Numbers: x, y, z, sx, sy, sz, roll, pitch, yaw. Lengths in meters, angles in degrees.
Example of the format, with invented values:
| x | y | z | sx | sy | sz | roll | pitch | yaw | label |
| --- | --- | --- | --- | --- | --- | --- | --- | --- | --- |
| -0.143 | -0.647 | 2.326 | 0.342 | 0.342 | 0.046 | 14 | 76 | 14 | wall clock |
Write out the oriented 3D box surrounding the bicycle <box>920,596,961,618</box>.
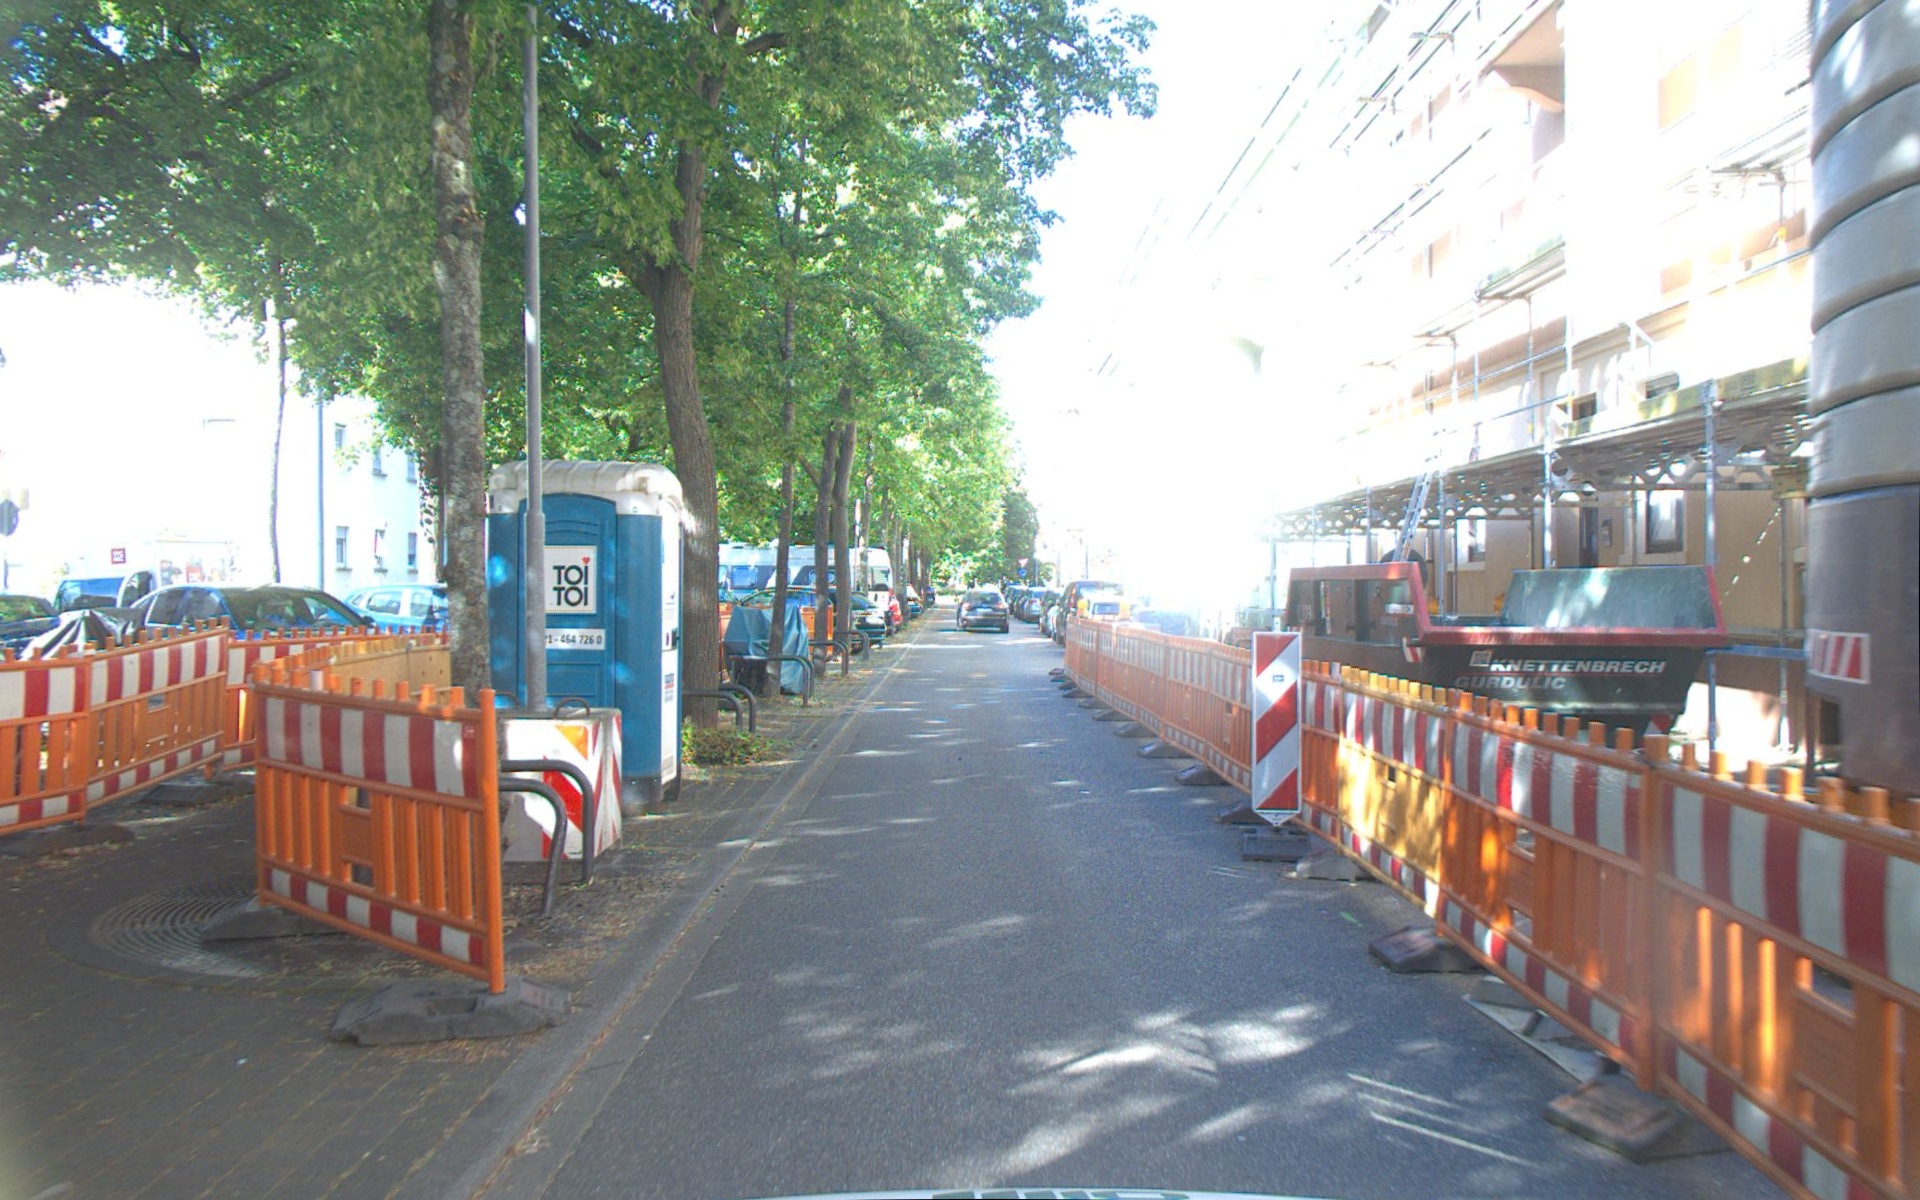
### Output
| x | y | z | sx | sy | sz | roll | pitch | yaw | label |
| --- | --- | --- | --- | --- | --- | --- | --- | --- | --- |
| -0.891 | 0.311 | 75.182 | 1.858 | 0.935 | 0.379 | 2 | 0 | 20 | bicycle |

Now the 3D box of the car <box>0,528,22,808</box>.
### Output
| x | y | z | sx | sy | sz | roll | pitch | yaw | label |
| --- | --- | --- | --- | --- | --- | --- | --- | --- | --- |
| -7.533 | 0.425 | 10.621 | 2.928 | 1.747 | 1.418 | 0 | 0 | 32 | car |

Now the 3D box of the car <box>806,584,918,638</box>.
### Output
| x | y | z | sx | sy | sz | roll | pitch | yaw | label |
| --- | --- | --- | --- | --- | --- | --- | --- | --- | --- |
| -3.133 | 0.339 | 52.356 | 1.648 | 1.646 | 3.825 | -1 | 0 | -39 | car |

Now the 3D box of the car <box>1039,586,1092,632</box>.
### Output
| x | y | z | sx | sy | sz | roll | pitch | yaw | label |
| --- | --- | --- | --- | --- | --- | --- | --- | --- | --- |
| 3.566 | 0.299 | 56.547 | 1.566 | 1.518 | 3.966 | 0 | 0 | 0 | car |

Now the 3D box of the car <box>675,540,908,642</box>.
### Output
| x | y | z | sx | sy | sz | roll | pitch | yaw | label |
| --- | --- | --- | --- | --- | --- | --- | --- | --- | --- |
| -4.636 | -0.266 | 45.069 | 6.194 | 2.603 | 2.332 | 1 | 0 | 32 | car |

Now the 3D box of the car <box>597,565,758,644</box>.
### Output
| x | y | z | sx | sy | sz | roll | pitch | yaw | label |
| --- | --- | --- | --- | --- | --- | --- | --- | --- | --- |
| -7.398 | 0.107 | 43.052 | 4.309 | 1.948 | 1.987 | 0 | 0 | 44 | car |

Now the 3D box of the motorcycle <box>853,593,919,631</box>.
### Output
| x | y | z | sx | sy | sz | roll | pitch | yaw | label |
| --- | --- | --- | --- | --- | --- | --- | --- | --- | --- |
| -2.493 | 0.402 | 55.871 | 2.101 | 1.251 | 0.882 | 1 | 0 | 9 | motorcycle |

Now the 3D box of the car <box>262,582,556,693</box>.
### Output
| x | y | z | sx | sy | sz | roll | pitch | yaw | label |
| --- | --- | --- | --- | --- | --- | --- | --- | --- | --- |
| -7.819 | 0.495 | 23.489 | 3.820 | 1.486 | 1.578 | 0 | 0 | 21 | car |

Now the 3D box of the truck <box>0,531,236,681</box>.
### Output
| x | y | z | sx | sy | sz | roll | pitch | yaw | label |
| --- | --- | --- | --- | --- | --- | --- | --- | --- | --- |
| -14.777 | 0.083 | 29.318 | 1.882 | 2.451 | 4.265 | 0 | 0 | 2 | truck |

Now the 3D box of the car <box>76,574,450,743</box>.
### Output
| x | y | z | sx | sy | sz | roll | pitch | yaw | label |
| --- | --- | --- | --- | --- | --- | --- | --- | --- | --- |
| -7.201 | 0.539 | 16.977 | 3.917 | 1.545 | 1.666 | 0 | 0 | 34 | car |

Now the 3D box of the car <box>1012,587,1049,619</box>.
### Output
| x | y | z | sx | sy | sz | roll | pitch | yaw | label |
| --- | --- | --- | --- | --- | --- | --- | --- | --- | --- |
| 3.515 | 0.146 | 82.866 | 1.657 | 1.493 | 4.005 | 2 | 0 | 0 | car |

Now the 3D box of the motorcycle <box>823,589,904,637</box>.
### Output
| x | y | z | sx | sy | sz | roll | pitch | yaw | label |
| --- | --- | --- | --- | --- | --- | --- | --- | --- | --- |
| -2.815 | 0.362 | 47.988 | 2.276 | 1.358 | 0.967 | 0 | 0 | -10 | motorcycle |

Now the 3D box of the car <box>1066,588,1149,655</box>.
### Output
| x | y | z | sx | sy | sz | roll | pitch | yaw | label |
| --- | --- | --- | --- | --- | --- | --- | --- | --- | --- |
| 3.562 | 0.486 | 40.520 | 1.669 | 1.538 | 4.284 | 0 | 0 | 0 | car |

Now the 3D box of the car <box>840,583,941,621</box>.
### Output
| x | y | z | sx | sy | sz | roll | pitch | yaw | label |
| --- | --- | --- | --- | --- | --- | --- | --- | --- | --- |
| -2.845 | 0.074 | 67.365 | 3.939 | 1.500 | 1.621 | 0 | 0 | 35 | car |

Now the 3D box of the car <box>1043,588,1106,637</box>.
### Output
| x | y | z | sx | sy | sz | roll | pitch | yaw | label |
| --- | --- | --- | --- | --- | --- | --- | --- | --- | --- |
| 3.549 | 0.362 | 51.794 | 1.574 | 1.445 | 4.567 | 0 | 0 | -1 | car |

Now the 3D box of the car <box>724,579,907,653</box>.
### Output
| x | y | z | sx | sy | sz | roll | pitch | yaw | label |
| --- | --- | --- | --- | --- | --- | --- | --- | --- | --- |
| -3.319 | 0.320 | 37.689 | 4.016 | 1.552 | 1.697 | 1 | 2 | 34 | car |

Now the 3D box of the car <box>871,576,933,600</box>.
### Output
| x | y | z | sx | sy | sz | roll | pitch | yaw | label |
| --- | --- | --- | --- | --- | --- | --- | --- | --- | --- |
| -4.042 | -0.835 | 115.749 | 4.018 | 1.492 | 1.860 | 2 | -1 | -13 | car |

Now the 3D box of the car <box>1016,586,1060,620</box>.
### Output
| x | y | z | sx | sy | sz | roll | pitch | yaw | label |
| --- | --- | --- | --- | --- | --- | --- | --- | --- | --- |
| 3.392 | 0.121 | 72.657 | 1.733 | 1.456 | 4.291 | 0 | 0 | 0 | car |

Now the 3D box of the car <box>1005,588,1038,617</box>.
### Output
| x | y | z | sx | sy | sz | roll | pitch | yaw | label |
| --- | --- | --- | --- | --- | --- | --- | --- | --- | --- |
| 3.448 | 0.127 | 92.758 | 1.768 | 1.591 | 4.321 | -1 | 0 | 1 | car |

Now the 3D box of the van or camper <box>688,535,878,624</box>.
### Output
| x | y | z | sx | sy | sz | roll | pitch | yaw | label |
| --- | --- | --- | --- | --- | --- | --- | --- | --- | --- |
| -6.084 | -0.722 | 56.659 | 6.167 | 2.874 | 2.404 | 2 | 0 | 29 | van or camper |

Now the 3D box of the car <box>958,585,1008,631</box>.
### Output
| x | y | z | sx | sy | sz | roll | pitch | yaw | label |
| --- | --- | --- | --- | --- | --- | --- | --- | --- | --- |
| 0.820 | 0.260 | 57.672 | 1.679 | 1.509 | 4.145 | -1 | 0 | 1 | car |

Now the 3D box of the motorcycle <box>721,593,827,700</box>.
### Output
| x | y | z | sx | sy | sz | roll | pitch | yaw | label |
| --- | --- | --- | --- | --- | --- | --- | --- | --- | --- |
| -2.473 | 0.602 | 22.265 | 0.617 | 1.347 | 2.230 | 2 | 0 | 15 | motorcycle |

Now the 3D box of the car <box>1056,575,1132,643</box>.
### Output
| x | y | z | sx | sy | sz | roll | pitch | yaw | label |
| --- | --- | --- | --- | --- | --- | --- | --- | --- | --- |
| 3.685 | 0.225 | 46.093 | 1.735 | 1.825 | 3.989 | 0 | 0 | -1 | car |
